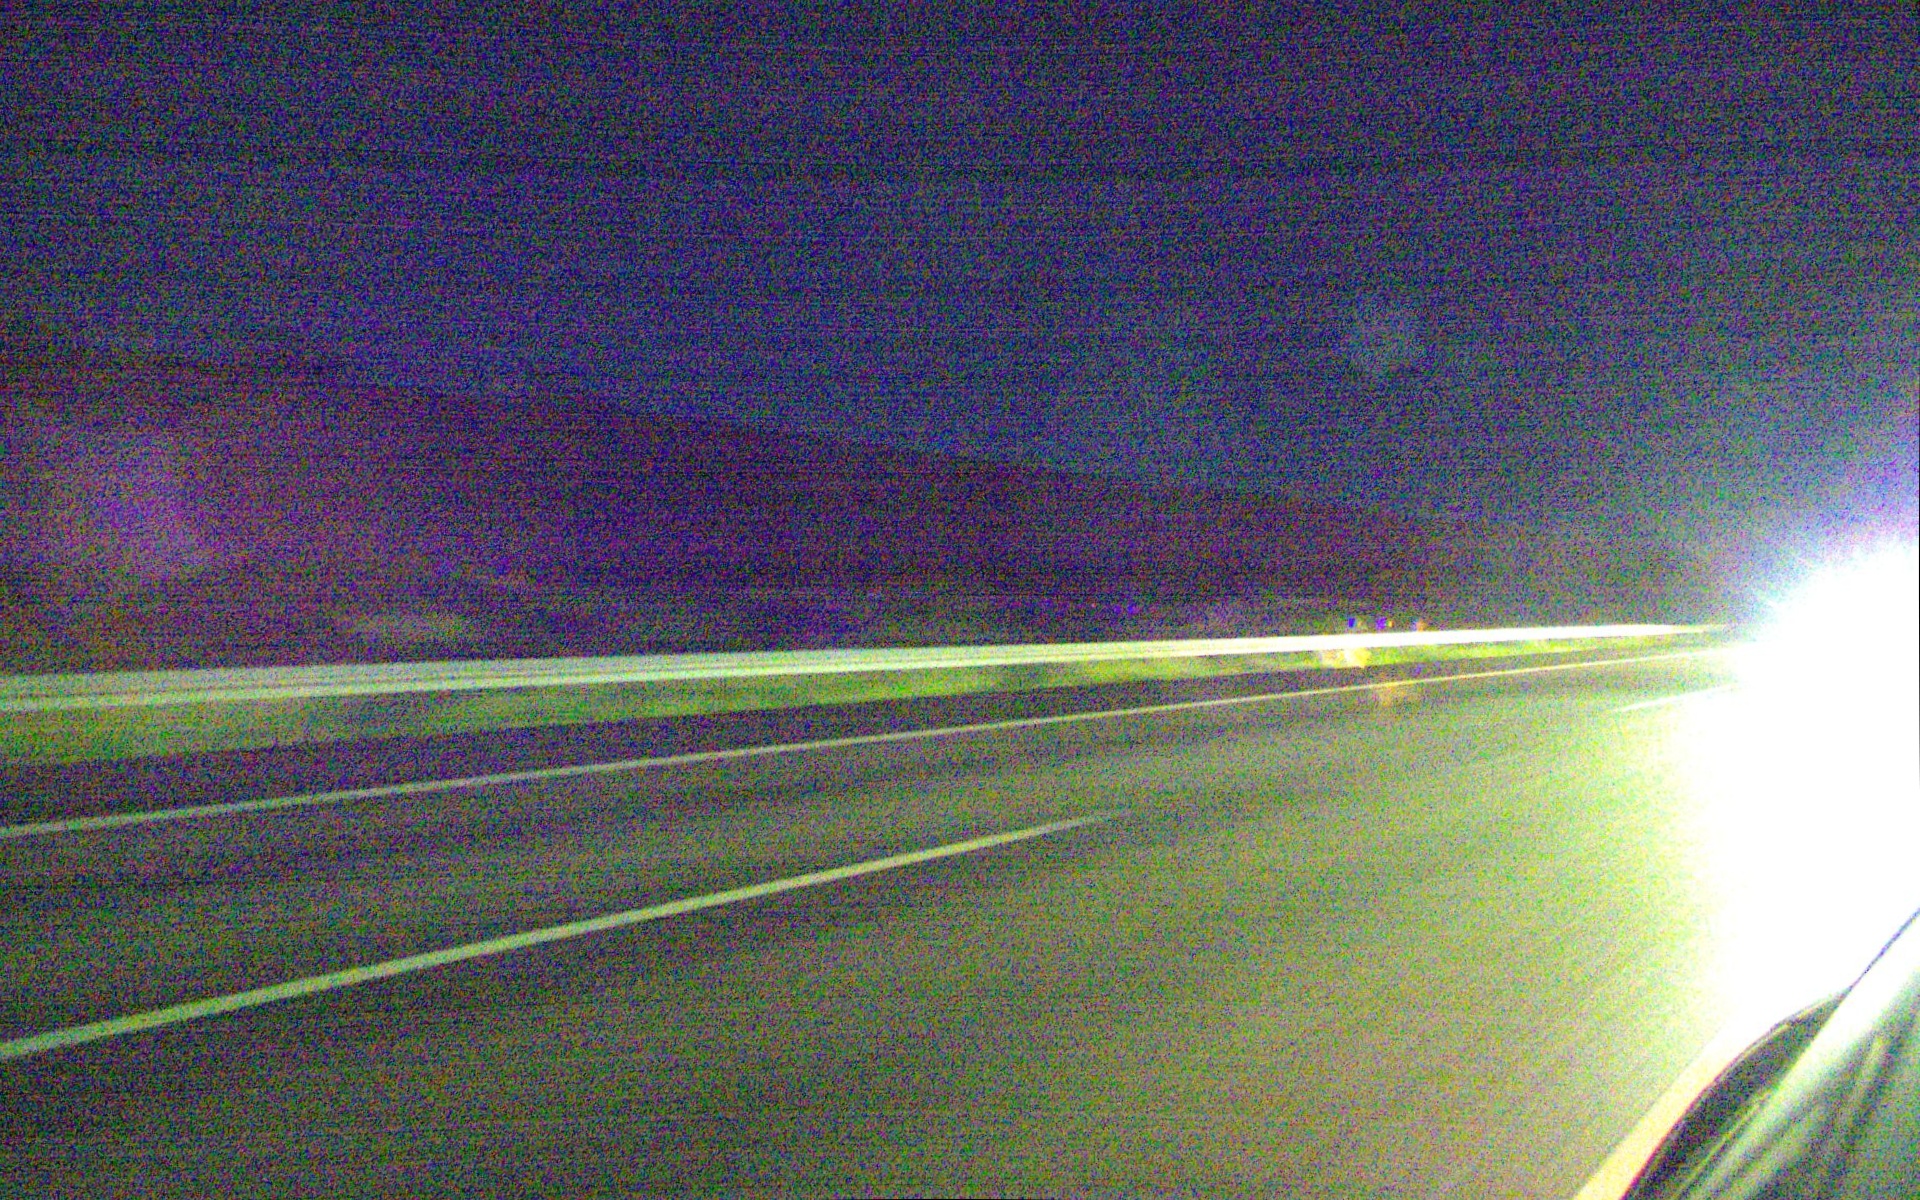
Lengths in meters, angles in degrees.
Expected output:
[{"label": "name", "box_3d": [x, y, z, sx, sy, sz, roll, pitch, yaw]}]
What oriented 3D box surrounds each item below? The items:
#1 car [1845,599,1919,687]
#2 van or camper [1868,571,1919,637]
[{"label": "car", "box_3d": [17.239, 0.761, 17.985, 4.150, 1.431, 1.689, 2, -1, -40]}, {"label": "van or camper", "box_3d": [43.210, 0.169, 45.928, 6.688, 2.807, 2.209, 0, -2, -43]}]
